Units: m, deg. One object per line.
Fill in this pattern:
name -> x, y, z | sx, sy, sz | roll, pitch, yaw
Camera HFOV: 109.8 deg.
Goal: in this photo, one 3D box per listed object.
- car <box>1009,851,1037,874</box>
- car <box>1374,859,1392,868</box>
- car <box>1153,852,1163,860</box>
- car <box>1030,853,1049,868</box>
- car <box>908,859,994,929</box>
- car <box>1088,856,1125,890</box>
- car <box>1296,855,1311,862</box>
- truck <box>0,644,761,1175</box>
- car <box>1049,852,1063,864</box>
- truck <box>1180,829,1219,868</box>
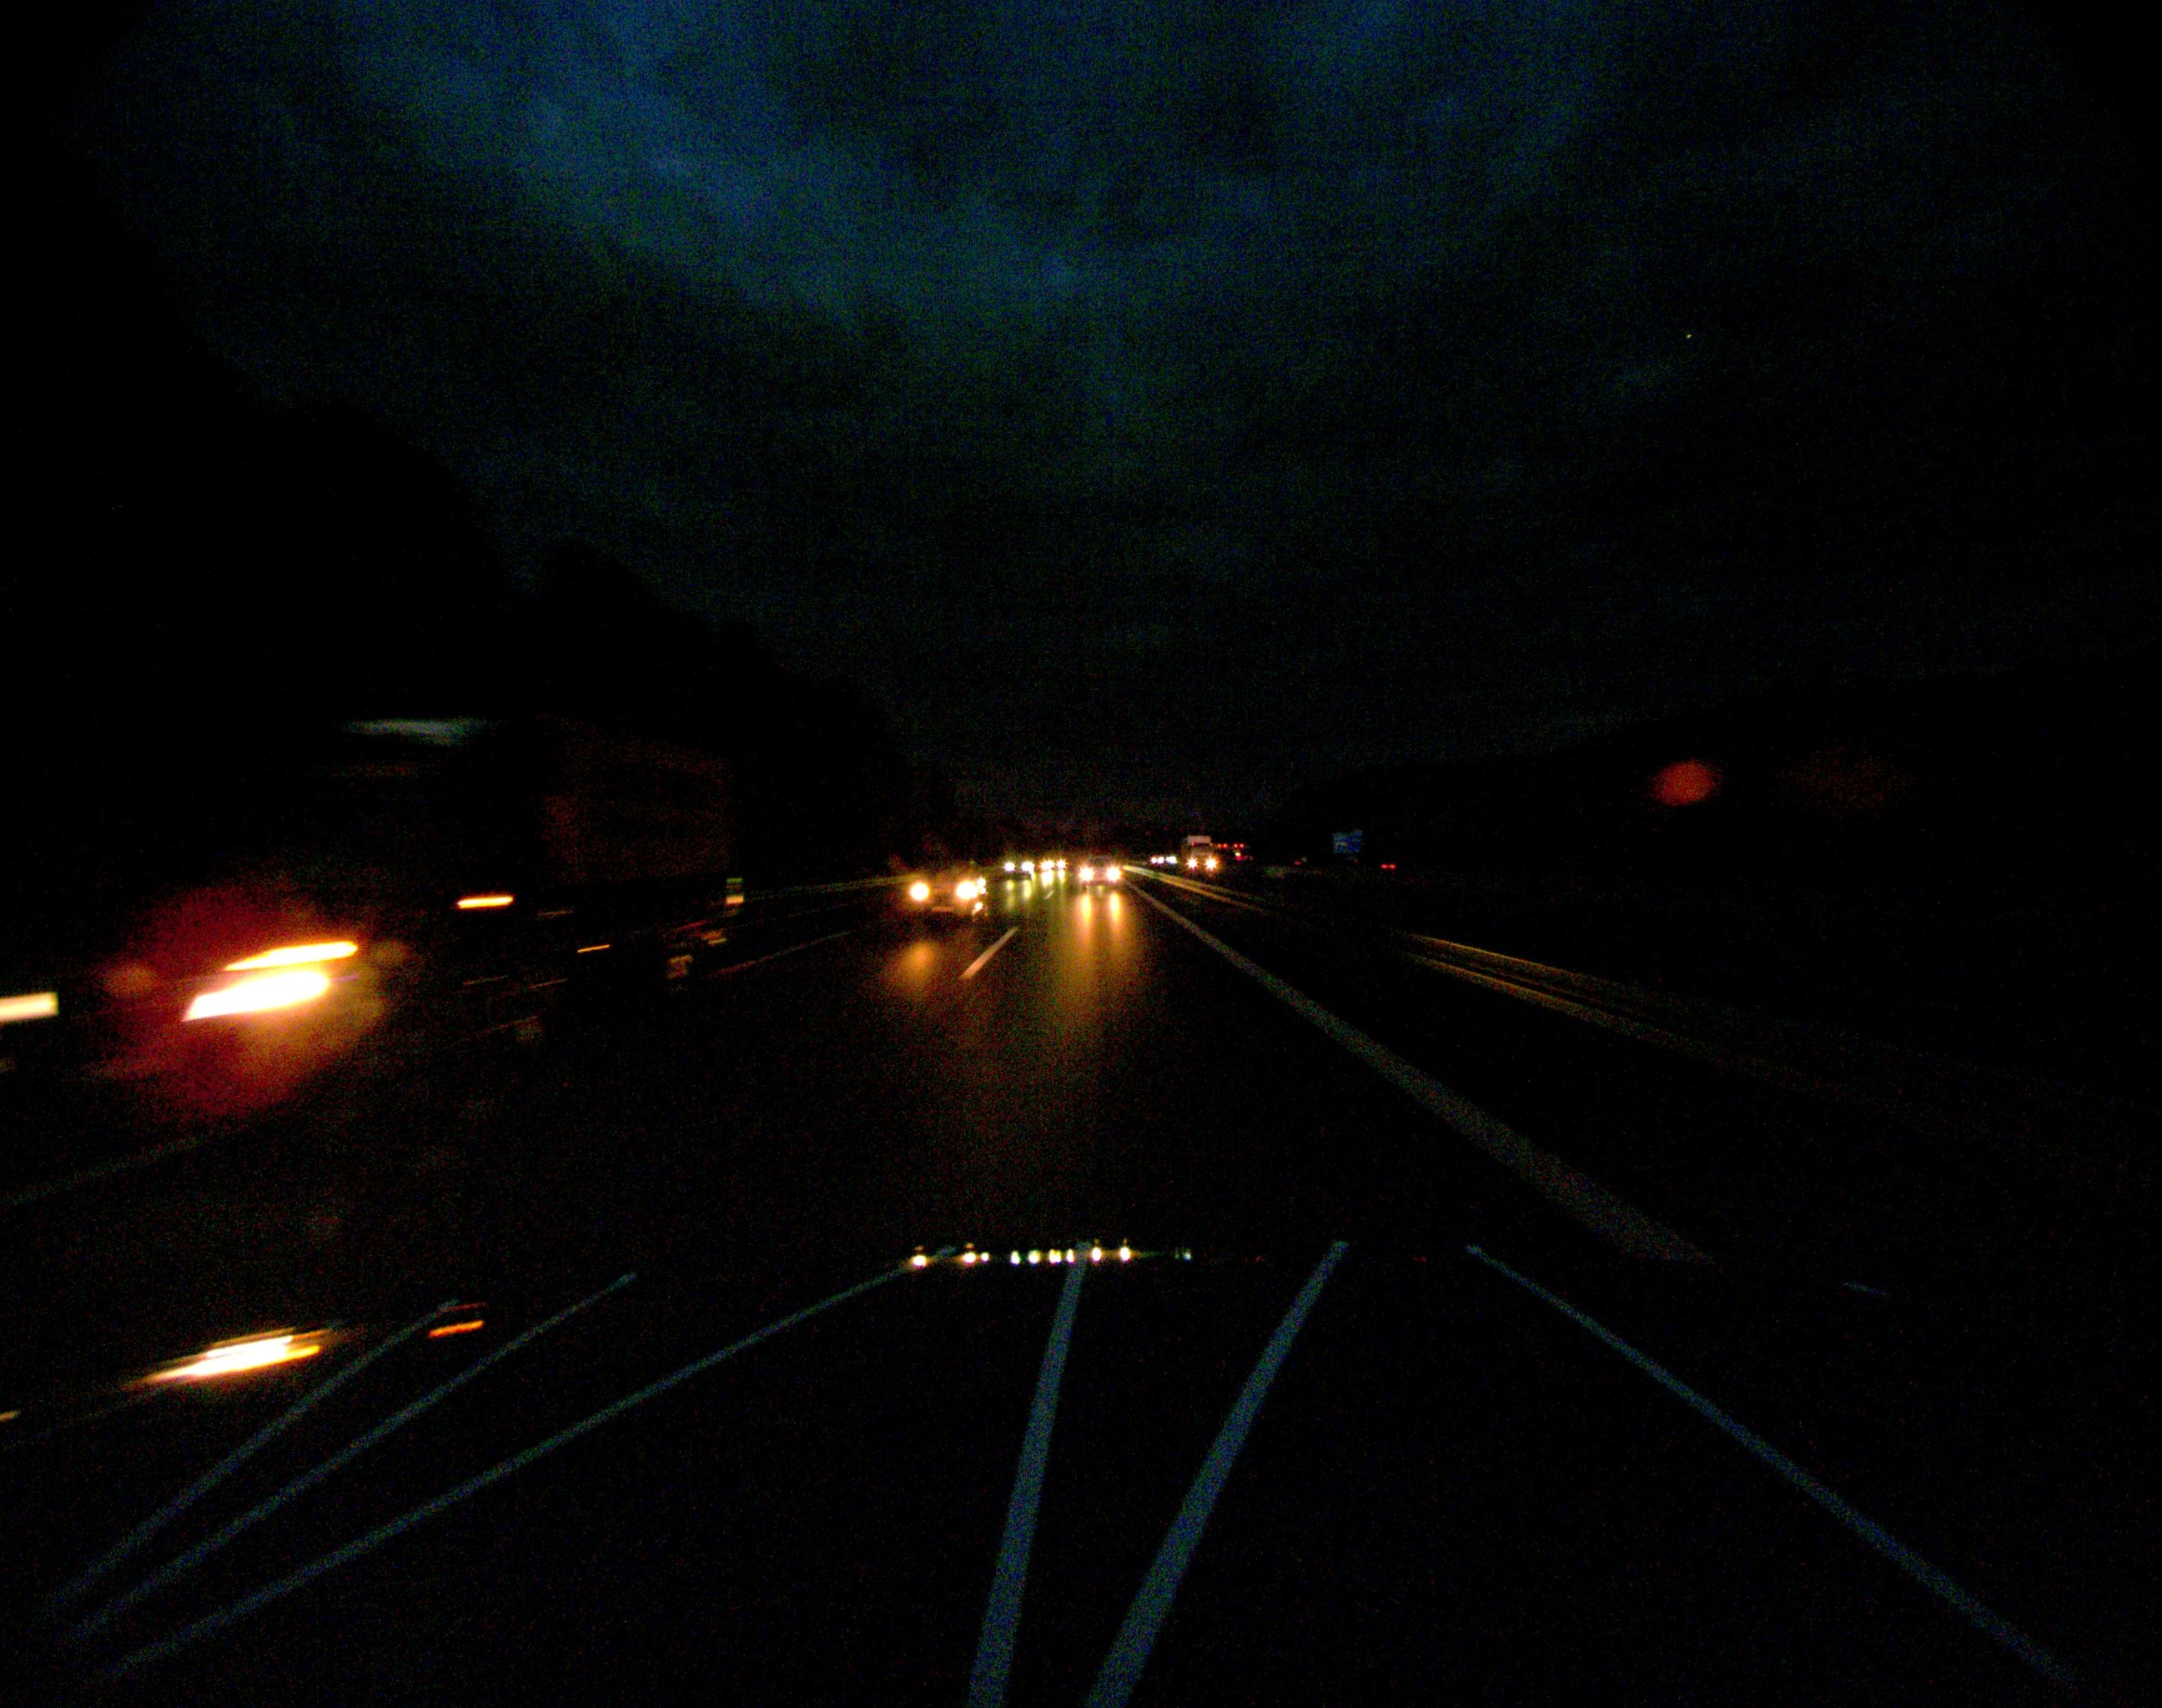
car -> -4.590, 0.636, 60.419 | 1.802, 1.636, 5.160 | 1, 0, 0
car -> 55.667, 1.720, 140.092 | 1.770, 1.586, 4.309 | 0, 0, 0
car -> 17.577, 0.503, 172.861 | 1.833, 1.674, 4.228 | -2, 0, 1
car -> -4.456, 0.691, 82.036 | 1.803, 1.483, 5.116 | -2, 0, -2
car -> -3.177, 0.925, 19.136 | 1.615, 1.547, 3.318 | 0, 1, 0
car -> 1.201, 0.881, 36.853 | 1.669, 1.551, 3.756 | 0, 0, 1
car -> 47.264, 0.873, 161.389 | 1.841, 1.434, 4.466 | 0, 0, -2
truck -> -5.783, 0.326, 7.615 | 2.274, 2.954, 6.631 | -2, 0, 0
car -> -3.267, 0.522, 99.059 | 1.803, 1.483, 4.434 | -2, 0, -2
truck -> 13.501, -0.660, 87.527 | 3.046, 4.276, 9.890 | 0, 1, 0
